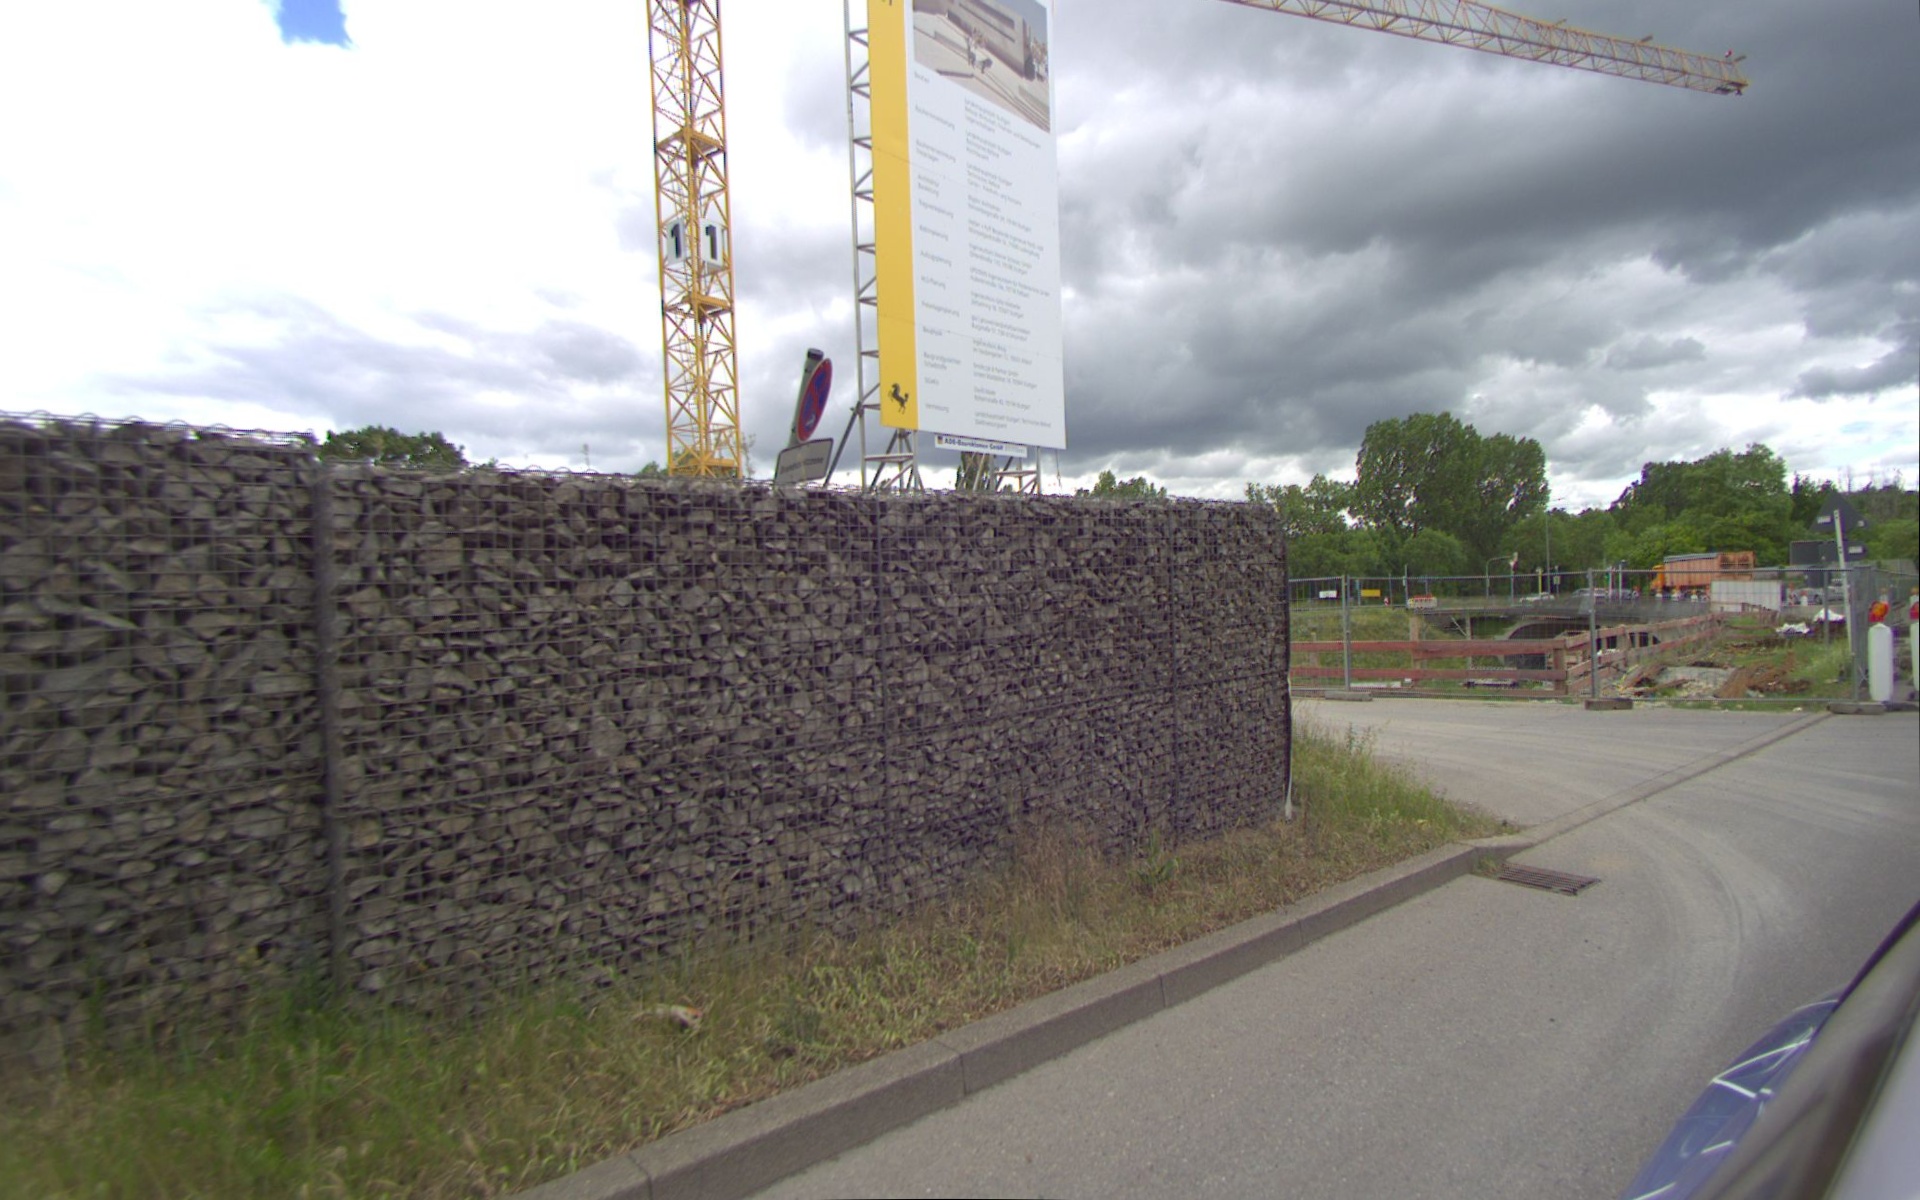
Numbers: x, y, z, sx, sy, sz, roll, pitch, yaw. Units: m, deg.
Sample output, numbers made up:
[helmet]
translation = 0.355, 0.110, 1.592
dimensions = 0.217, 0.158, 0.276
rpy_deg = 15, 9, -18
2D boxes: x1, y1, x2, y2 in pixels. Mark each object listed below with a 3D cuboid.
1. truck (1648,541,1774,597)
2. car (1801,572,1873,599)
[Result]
[truck]
translation = 58.020, -2.269, 78.586
dimensions = 2.988, 3.947, 9.985
rpy_deg = -3, 0, 6
[car]
translation = 55.581, -0.907, 64.247
dimensions = 1.869, 1.583, 4.077
rpy_deg = -3, -1, 17
